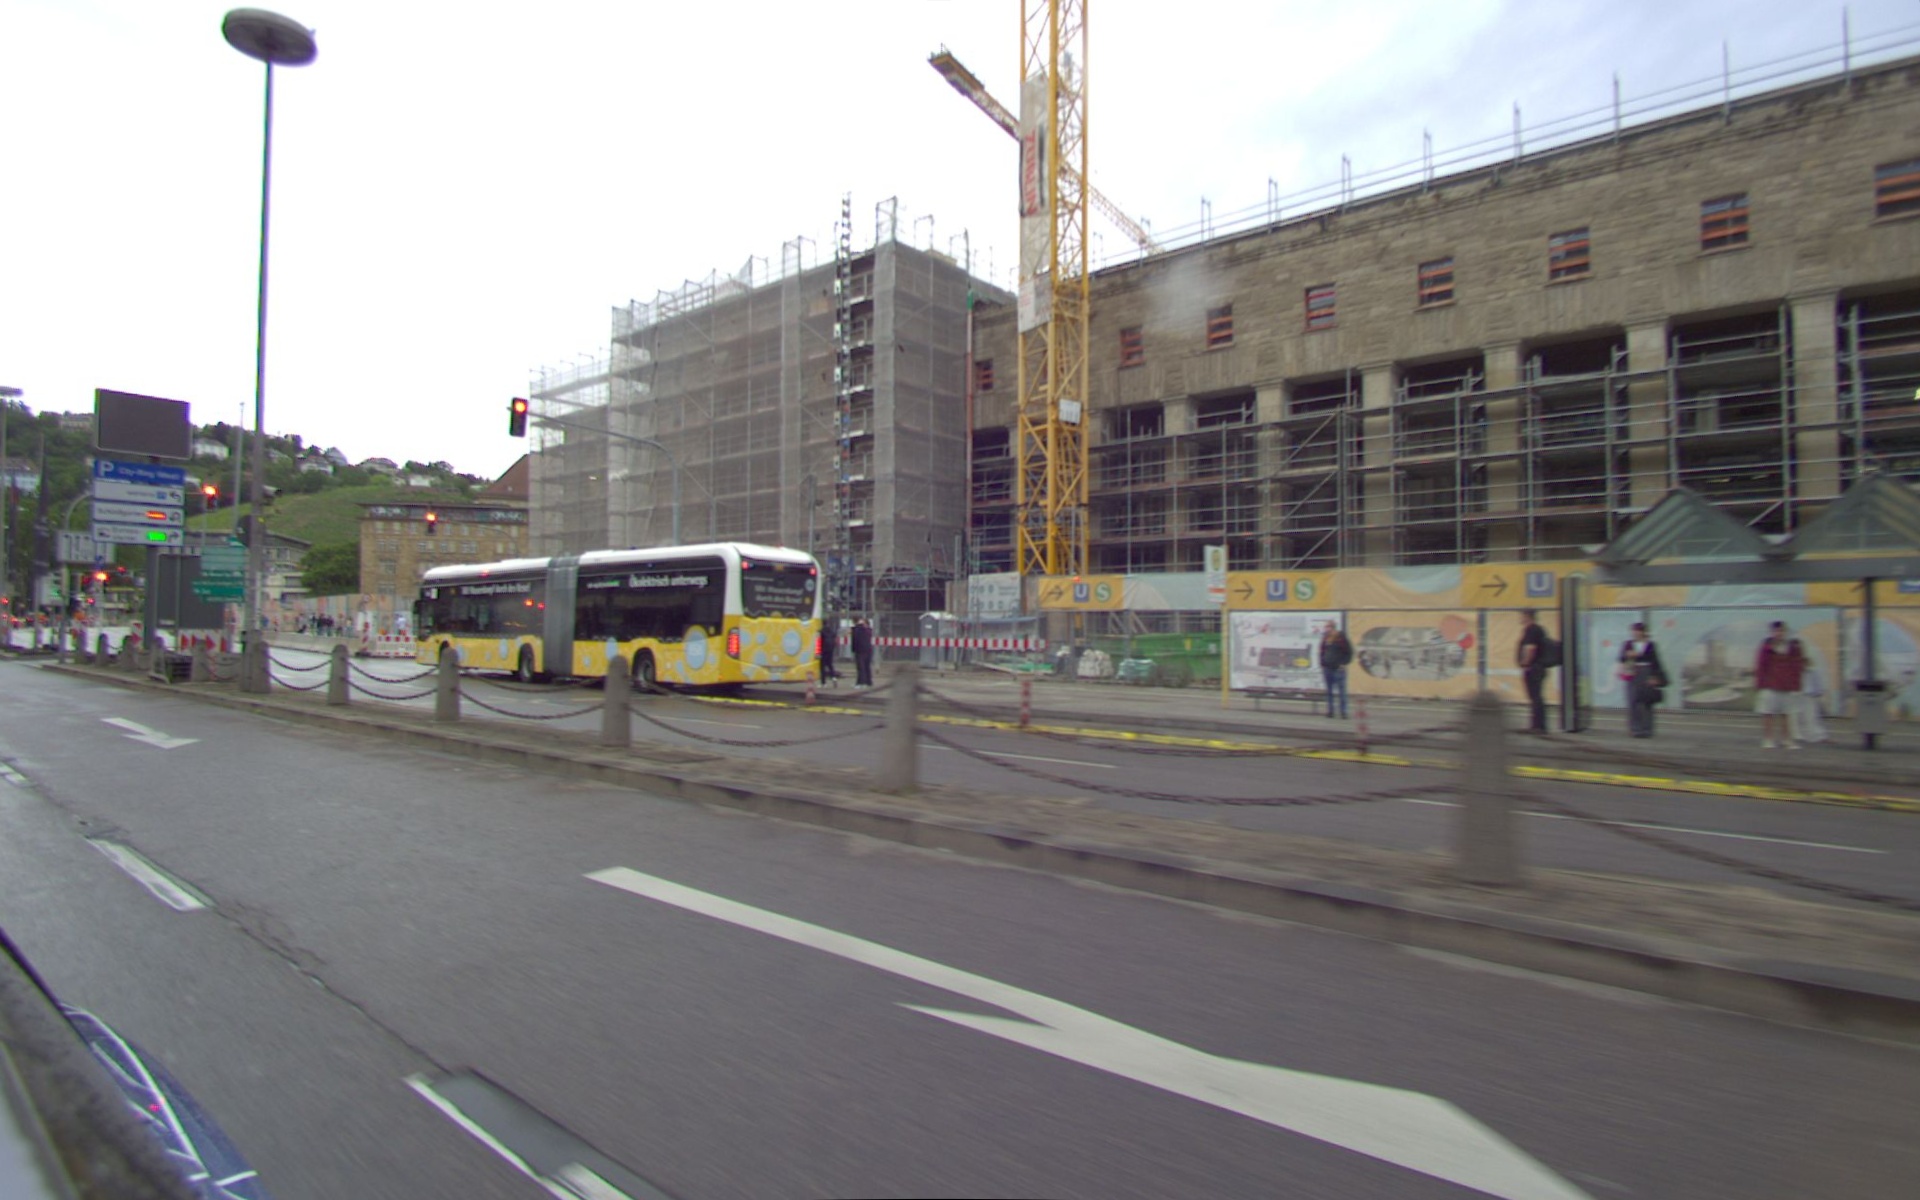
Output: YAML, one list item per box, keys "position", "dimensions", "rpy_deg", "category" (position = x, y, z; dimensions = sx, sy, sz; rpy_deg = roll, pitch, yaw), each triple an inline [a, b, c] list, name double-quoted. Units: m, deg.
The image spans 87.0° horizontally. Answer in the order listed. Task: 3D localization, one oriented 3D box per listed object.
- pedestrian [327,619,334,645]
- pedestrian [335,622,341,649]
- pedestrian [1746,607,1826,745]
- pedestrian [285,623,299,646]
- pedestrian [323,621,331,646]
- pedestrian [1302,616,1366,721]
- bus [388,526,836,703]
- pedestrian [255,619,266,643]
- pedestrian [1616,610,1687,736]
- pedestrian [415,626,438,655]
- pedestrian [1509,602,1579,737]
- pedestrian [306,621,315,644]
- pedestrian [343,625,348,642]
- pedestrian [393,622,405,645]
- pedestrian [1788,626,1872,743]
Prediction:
- position: [-42.571, 2.160, 68.415]
  dimensions: [0.346, 1.783, 0.306]
  rpy_deg: [-2, -2, 45]
  category: "pedestrian"
- position: [-42.152, 2.405, 68.549]
  dimensions: [0.268, 1.783, 0.310]
  rpy_deg: [-1, -1, 44]
  category: "pedestrian"
- position: [11.206, 1.010, 13.755]
  dimensions: [0.746, 1.804, 0.718]
  rpy_deg: [-1, -2, 34]
  category: "pedestrian"
- position: [-49.856, 2.542, 75.533]
  dimensions: [0.617, 1.698, 0.796]
  rpy_deg: [-2, -2, 44]
  category: "pedestrian"
- position: [-43.120, 2.278, 68.943]
  dimensions: [0.395, 1.633, 0.365]
  rpy_deg: [0, -1, -44]
  category: "pedestrian"
- position: [6.644, 1.196, 17.997]
  dimensions: [0.690, 1.804, 0.795]
  rpy_deg: [1, -2, -38]
  category: "pedestrian"
- position: [-10.810, 0.489, 28.040]
  dimensions: [19.074, 3.605, 2.878]
  rpy_deg: [-1, -3, 42]
  category: "bus"
- position: [-60.697, 2.716, 87.794]
  dimensions: [0.685, 2.049, 0.585]
  rpy_deg: [-2, -2, 41]
  category: "pedestrian"
- position: [10.184, 1.049, 14.930]
  dimensions: [0.802, 1.804, 0.551]
  rpy_deg: [-1, -2, 32]
  category: "pedestrian"
- position: [-29.998, 2.278, 56.853]
  dimensions: [0.709, 1.579, 0.941]
  rpy_deg: [-1, -2, 42]
  category: "pedestrian"
- position: [8.859, 1.021, 15.339]
  dimensions: [0.821, 1.974, 0.752]
  rpy_deg: [-1, -1, 37]
  category: "pedestrian"
- position: [-50.802, 2.561, 79.158]
  dimensions: [0.463, 1.768, 0.510]
  rpy_deg: [-1, -1, 41]
  category: "pedestrian"
- position: [-41.816, 2.279, 68.859]
  dimensions: [0.251, 1.202, 0.390]
  rpy_deg: [0, -1, -43]
  category: "pedestrian"
- position: [-35.325, 2.123, 63.739]
  dimensions: [0.557, 1.454, 0.529]
  rpy_deg: [1, -2, -42]
  category: "pedestrian"
- position: [12.622, 1.197, 14.701]
  dimensions: [0.802, 1.643, 0.551]
  rpy_deg: [-1, -2, 32]
  category: "pedestrian"
